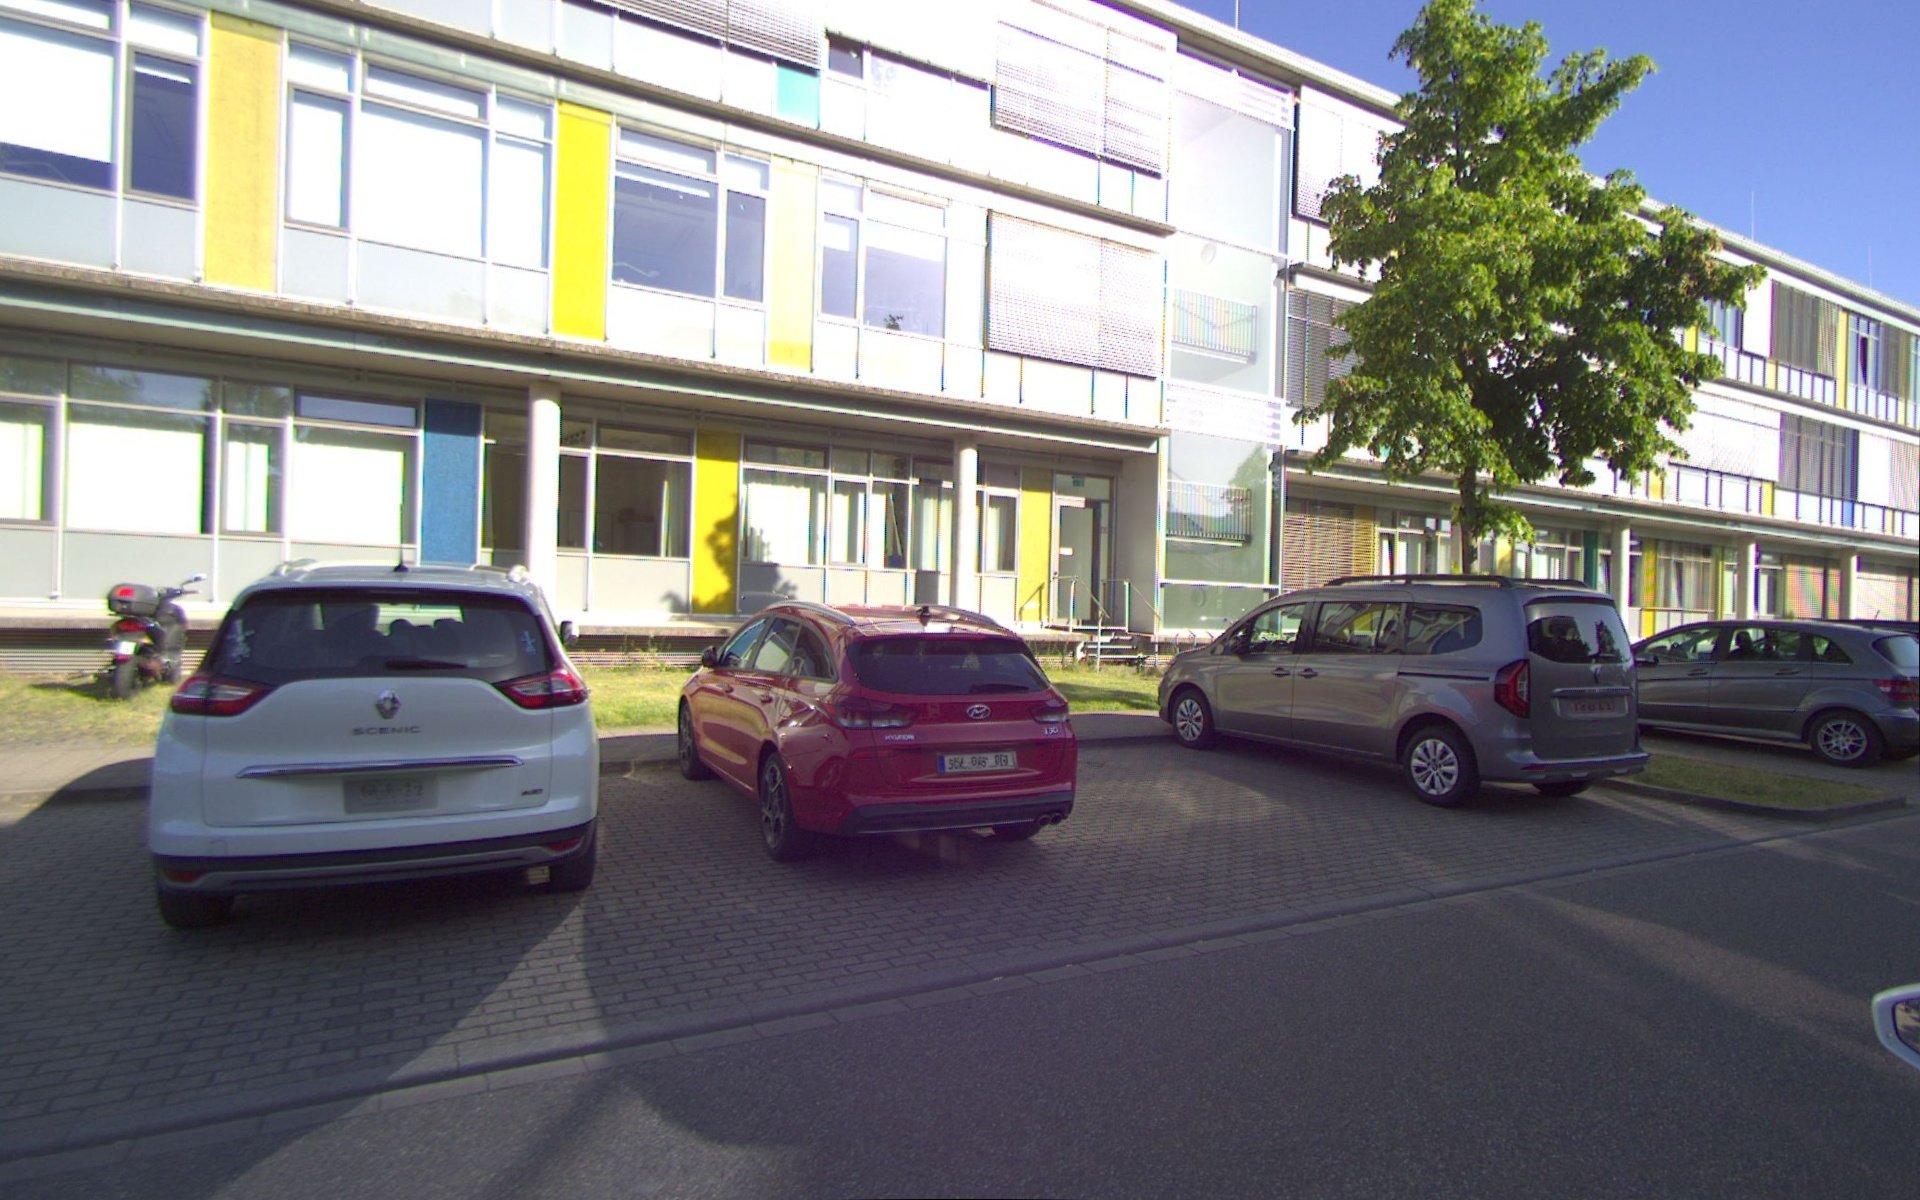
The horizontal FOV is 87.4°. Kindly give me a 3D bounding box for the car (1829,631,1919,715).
[{"bbox_3d":[17.498,1.322,16.935,1.724,1.377,3.965,2,1,-31],"label":"car"}]

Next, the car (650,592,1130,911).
[{"bbox_3d":[-0.868,0.740,7.186,1.804,1.521,4.417,2,-1,-27],"label":"car"}]

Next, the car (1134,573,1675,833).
[{"bbox_3d":[3.913,0.725,9.866,1.804,1.890,4.724,2,1,-27],"label":"car"}]

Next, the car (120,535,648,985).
[{"bbox_3d":[-3.201,0.617,6.224,1.842,1.673,4.599,2,-1,-24],"label":"car"}]

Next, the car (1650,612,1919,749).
[{"bbox_3d":[12.668,1.092,14.296,2.025,1.633,4.223,2,1,-31],"label":"car"}]

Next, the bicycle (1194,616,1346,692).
[{"bbox_3d":[5.348,0.919,17.420,2.329,1.169,0.871,3,1,-7],"label":"bicycle"}]

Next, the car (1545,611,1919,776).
[{"bbox_3d":[10.080,1.040,12.950,1.851,1.628,3.965,2,1,-31],"label":"car"}]

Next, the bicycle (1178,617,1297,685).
[{"bbox_3d":[5.221,0.957,18.918,1.962,1.169,0.868,3,1,-19],"label":"bicycle"}]

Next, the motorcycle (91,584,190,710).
[{"bbox_3d":[-8.754,0.452,10.789,0.493,1.165,2.033,1,2,-30],"label":"motorcycle"}]
